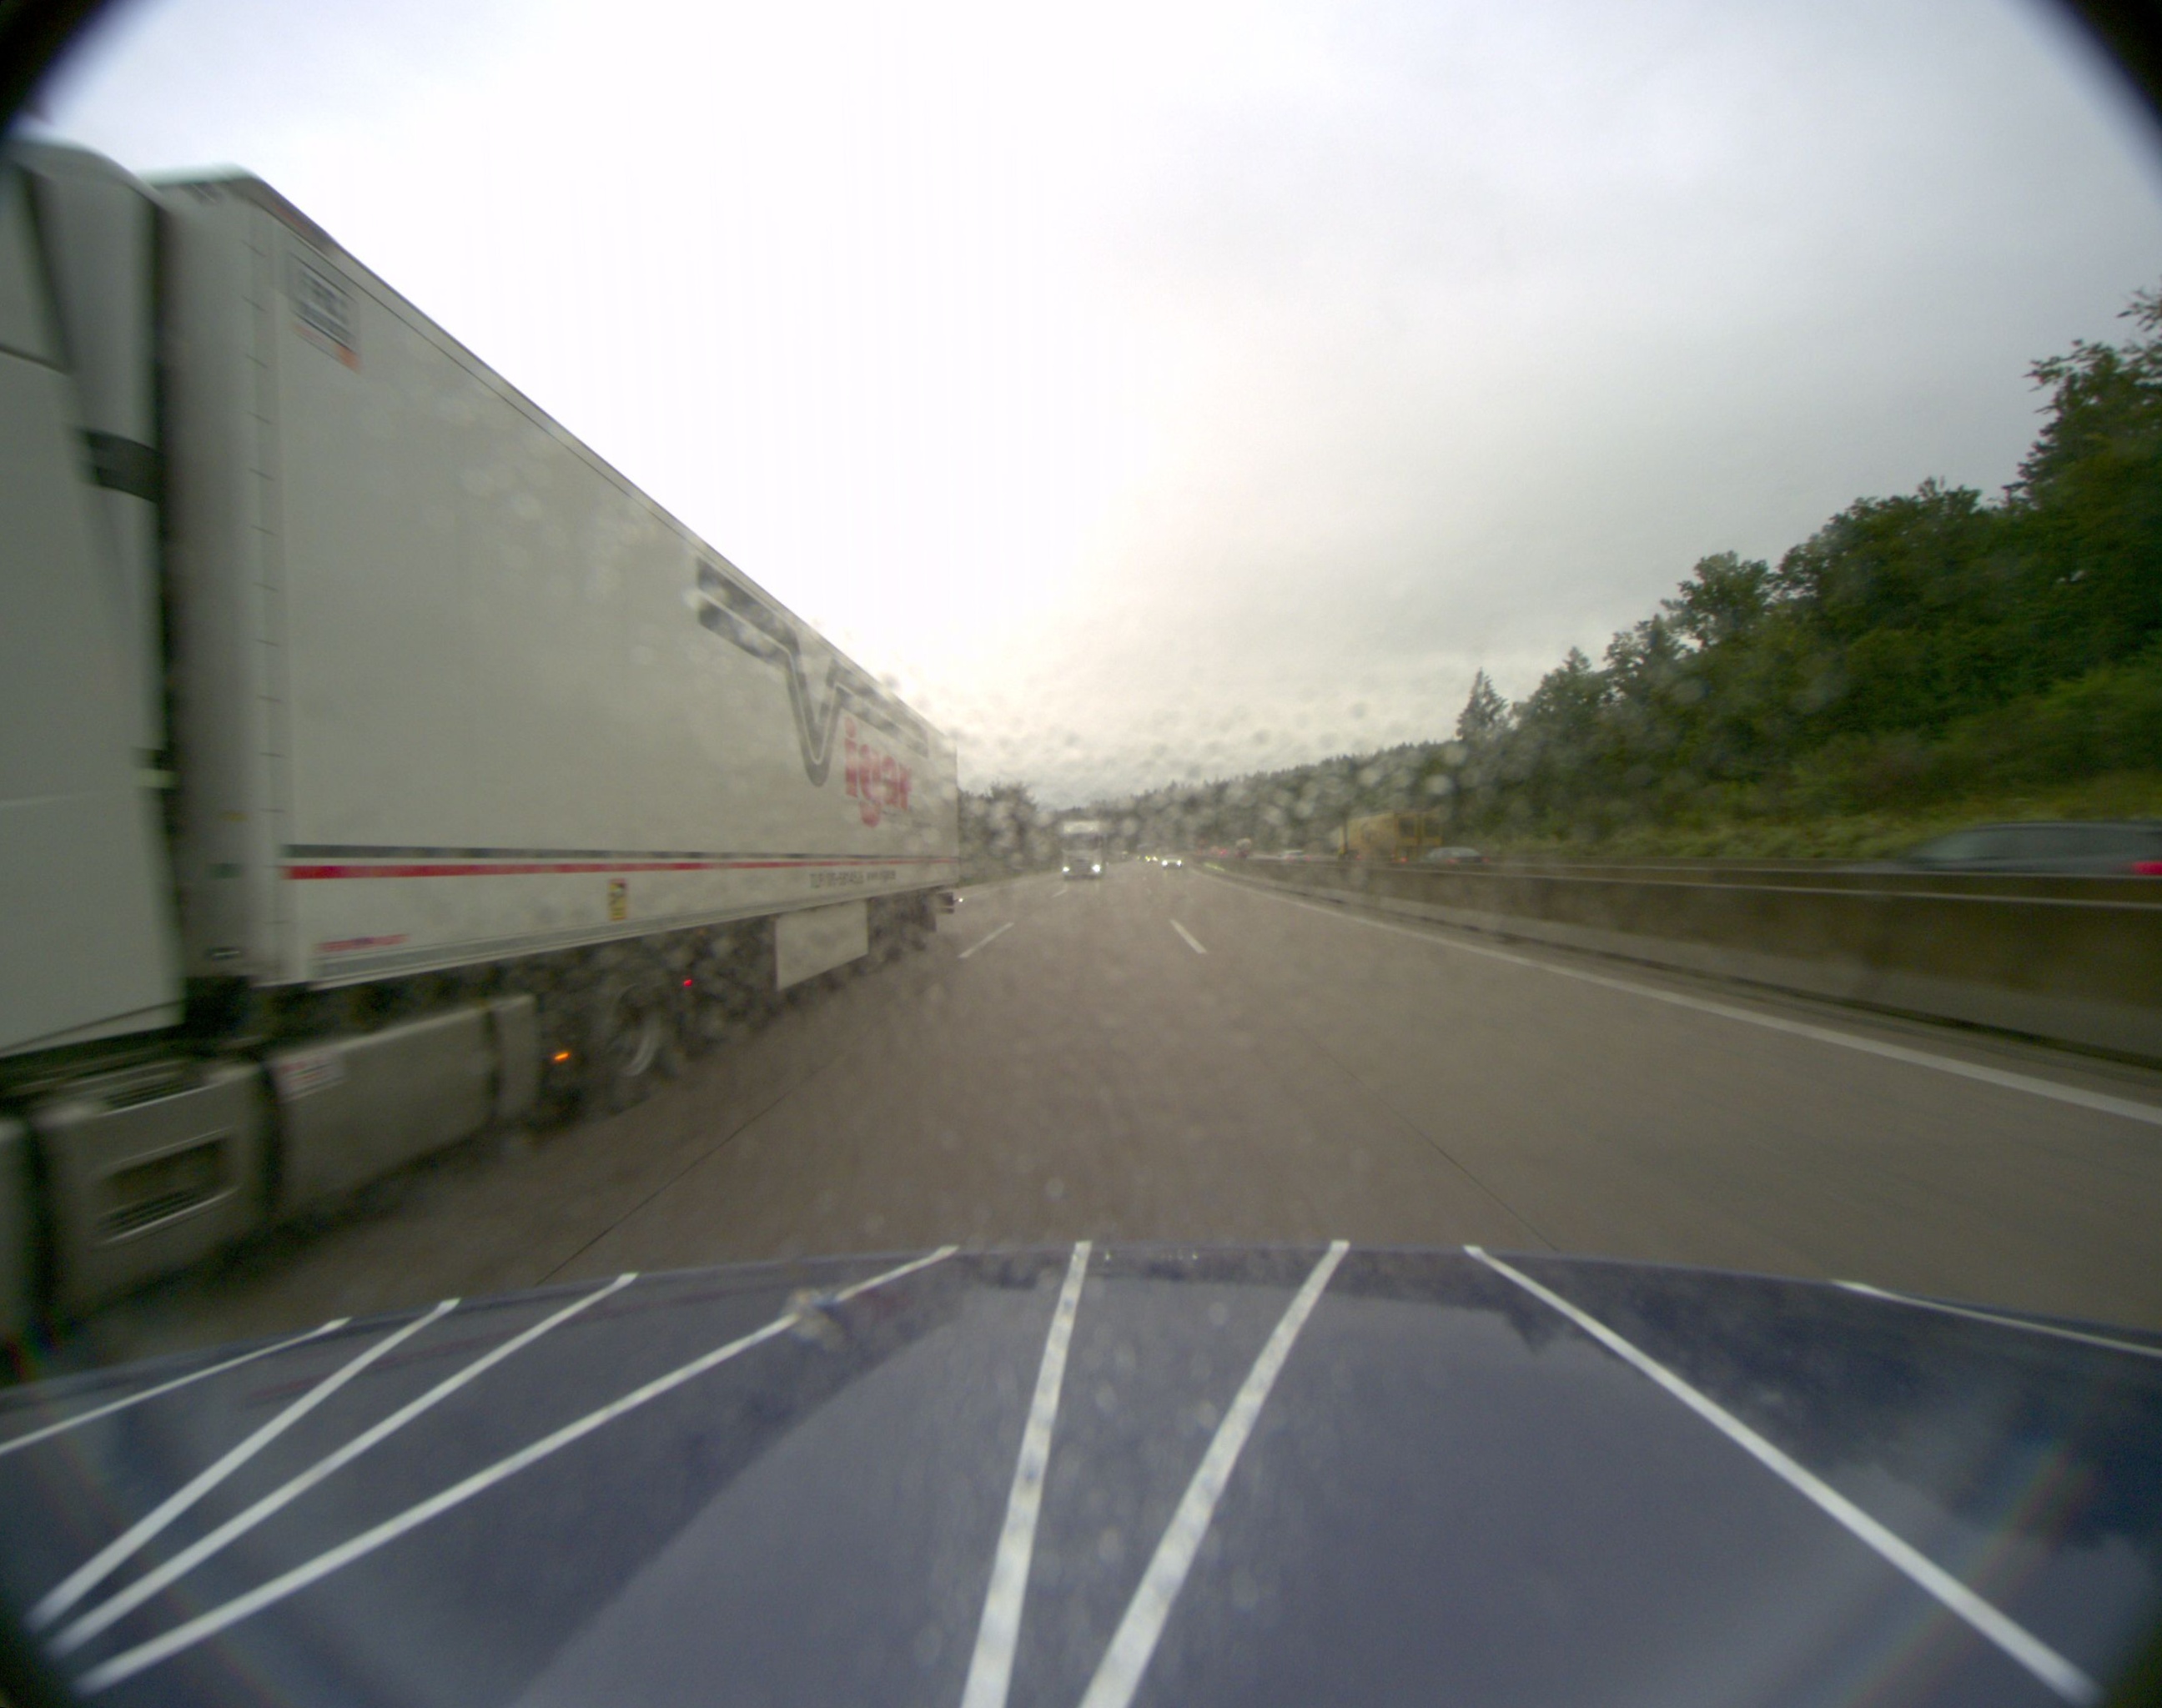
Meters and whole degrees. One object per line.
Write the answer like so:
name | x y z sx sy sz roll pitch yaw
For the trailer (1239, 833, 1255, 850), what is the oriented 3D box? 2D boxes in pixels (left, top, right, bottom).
trailer | 36.440 -2.674 166.751 2.551 3.645 8.234 -2 0 7

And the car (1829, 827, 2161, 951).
car | 12.740 0.366 10.049 1.657 1.338 4.086 -2 0 0

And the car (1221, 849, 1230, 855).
car | 33.924 -0.530 178.772 1.662 1.363 4.723 -2 0 7

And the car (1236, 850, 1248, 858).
car | 27.560 0.011 129.932 1.514 1.159 4.405 -2 0 7

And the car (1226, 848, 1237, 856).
car | 29.713 -0.386 149.726 1.805 1.326 4.567 -2 0 7

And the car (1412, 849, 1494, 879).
car | 16.605 0.397 34.174 1.657 1.191 4.546 -2 0 4

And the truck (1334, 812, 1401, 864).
truck | 23.384 -1.244 62.461 3.032 3.852 8.119 -2 0 5

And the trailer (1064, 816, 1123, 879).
trailer | 1.197 -0.486 57.190 2.684 4.017 13.711 -3 0 8

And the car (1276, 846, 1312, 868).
car | 15.758 0.185 56.365 1.657 1.470 4.546 -2 0 4

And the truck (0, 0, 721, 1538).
truck | -4.209 -0.246 2.593 2.805 4.080 5.968 -2 0 2

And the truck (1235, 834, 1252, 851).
truck | 37.295 -2.684 174.788 2.569 3.645 10.496 -2 0 6

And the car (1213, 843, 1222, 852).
car | 39.146 -1.748 217.916 1.997 2.435 6.749 -2 0 7

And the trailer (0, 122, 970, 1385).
trailer | -3.989 -0.284 9.334 2.741 4.080 13.683 -2 0 1

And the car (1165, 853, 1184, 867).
car | 9.641 0.617 78.598 1.716 1.398 4.938 -2 0 5

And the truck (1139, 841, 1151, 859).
truck | 15.618 -0.910 185.108 2.736 4.127 8.626 -2 0 6

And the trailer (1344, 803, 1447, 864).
trailer | 22.834 -1.353 56.331 3.021 3.852 13.704 -2 0 5

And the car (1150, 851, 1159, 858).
car | 14.169 0.117 146.531 1.716 1.398 4.937 -2 0 5

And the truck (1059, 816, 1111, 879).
truck | 0.386 -0.455 52.249 2.726 4.017 5.755 -1 0 8

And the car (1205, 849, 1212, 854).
car | 34.081 -0.636 203.441 1.662 1.363 4.760 -2 0 7
